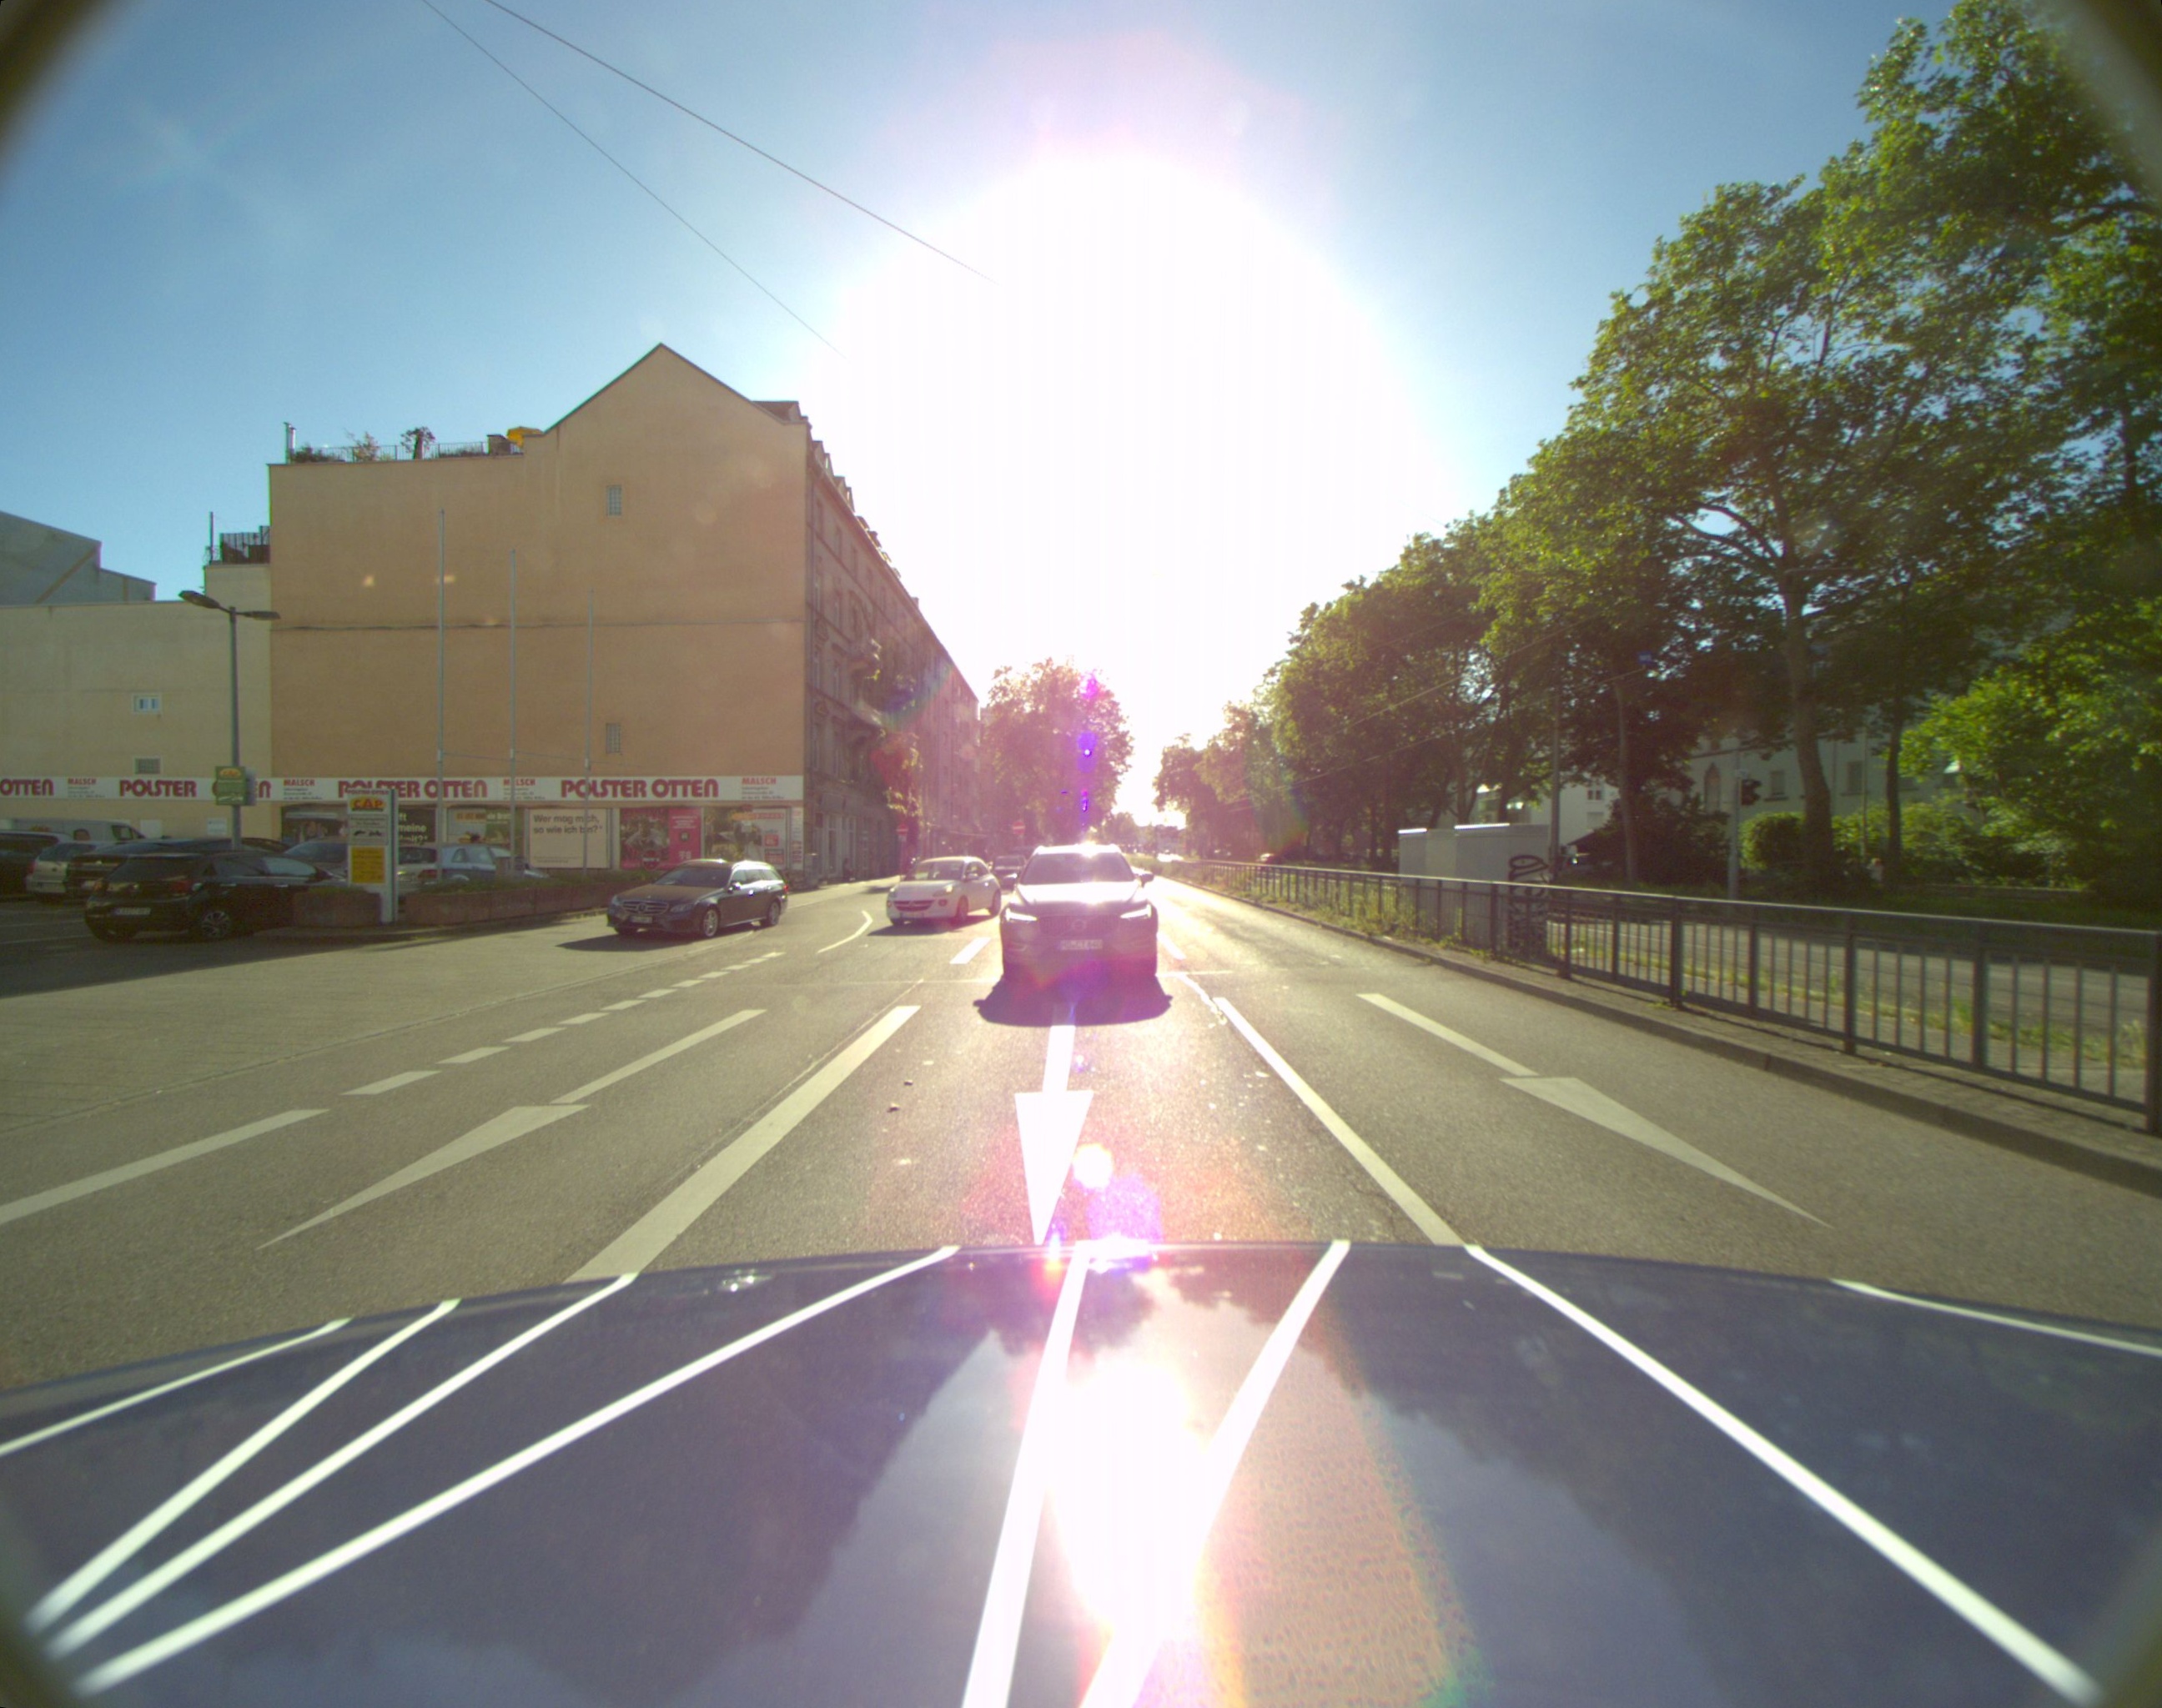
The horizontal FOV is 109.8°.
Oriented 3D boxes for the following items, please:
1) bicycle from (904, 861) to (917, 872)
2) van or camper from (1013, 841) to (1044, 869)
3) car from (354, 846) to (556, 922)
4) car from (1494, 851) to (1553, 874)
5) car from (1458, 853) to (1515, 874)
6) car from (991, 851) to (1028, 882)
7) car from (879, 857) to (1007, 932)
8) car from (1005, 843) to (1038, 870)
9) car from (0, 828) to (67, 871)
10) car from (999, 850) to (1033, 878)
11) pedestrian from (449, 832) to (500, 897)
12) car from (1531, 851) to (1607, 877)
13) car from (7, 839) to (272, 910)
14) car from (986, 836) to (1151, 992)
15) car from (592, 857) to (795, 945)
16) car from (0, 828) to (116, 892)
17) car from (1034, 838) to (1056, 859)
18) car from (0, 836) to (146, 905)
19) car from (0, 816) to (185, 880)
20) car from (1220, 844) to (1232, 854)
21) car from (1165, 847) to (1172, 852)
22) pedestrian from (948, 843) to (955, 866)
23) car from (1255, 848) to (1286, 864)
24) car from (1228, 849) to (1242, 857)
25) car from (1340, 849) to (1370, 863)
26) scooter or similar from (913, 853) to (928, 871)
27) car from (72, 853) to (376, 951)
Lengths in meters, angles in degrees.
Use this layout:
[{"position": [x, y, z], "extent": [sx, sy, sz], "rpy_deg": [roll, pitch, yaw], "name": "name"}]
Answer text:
[{"position": [-10.864, 0.799, 48.330], "extent": [0.469, 0.702, 1.512], "rpy_deg": [0, 1, 1], "name": "bicycle"}, {"position": [-3.855, 0.045, 56.521], "extent": [1.889, 2.002, 5.094], "rpy_deg": [0, 1, 0], "name": "van or camper"}, {"position": [-15.025, 0.640, 18.582], "extent": [1.749, 1.635, 3.998], "rpy_deg": [0, 1, -3], "name": "car"}, {"position": [28.737, 0.530, 49.475], "extent": [1.779, 1.456, 3.697], "rpy_deg": [0, 1, 1], "name": "car"}, {"position": [28.821, 0.664, 54.168], "extent": [1.644, 1.316, 4.460], "rpy_deg": [2, 1, 1], "name": "car"}, {"position": [-3.842, 0.629, 41.325], "extent": [1.645, 1.509, 3.999], "rpy_deg": [-3, 1, -1], "name": "car"}, {"position": [-3.112, 0.864, 17.924], "extent": [1.606, 1.446, 3.784], "rpy_deg": [-1, 1, 12], "name": "car"}, {"position": [-3.957, 0.132, 50.997], "extent": [1.869, 1.754, 4.000], "rpy_deg": [0, 1, 1], "name": "car"}, {"position": [-46.325, -0.196, 31.958], "extent": [1.659, 1.791, 4.051], "rpy_deg": [1, 1, 12], "name": "car"}, {"position": [-3.865, 0.556, 45.775], "extent": [1.743, 1.509, 3.999], "rpy_deg": [-3, 1, -1], "name": "car"}, {"position": [-19.249, 0.326, 24.136], "extent": [0.819, 2.002, 0.923], "rpy_deg": [0, 1, 1], "name": "pedestrian"}, {"position": [28.782, 0.530, 44.988], "extent": [1.739, 1.432, 4.318], "rpy_deg": [0, 1, 1], "name": "car"}, {"position": [-22.540, 0.417, 18.477], "extent": [1.546, 1.535, 3.937], "rpy_deg": [0, 1, 0], "name": "car"}, {"position": [-0.079, 0.668, 10.983], "extent": [1.876, 1.788, 4.633], "rpy_deg": [0, 1, 1], "name": "car"}, {"position": [-8.069, 0.876, 16.446], "extent": [1.837, 1.478, 4.733], "rpy_deg": [3, 1, 1], "name": "car"}, {"position": [-27.636, 0.142, 19.117], "extent": [1.661, 1.572, 3.937], "rpy_deg": [0, 1, 0], "name": "car"}, {"position": [-4.207, -0.645, 89.766], "extent": [2.079, 2.420, 5.855], "rpy_deg": [-1, 1, 1], "name": "car"}, {"position": [-24.695, 0.359, 17.454], "extent": [1.546, 1.535, 3.937], "rpy_deg": [0, 1, 0], "name": "car"}, {"position": [-40.643, -0.242, 31.113], "extent": [1.708, 2.398, 4.886], "rpy_deg": [1, 1, 10], "name": "car"}, {"position": [28.362, -0.981, 148.694], "extent": [1.998, 2.002, 4.001], "rpy_deg": [-2, 0, 5], "name": "car"}, {"position": [29.782, -1.518, 257.716], "extent": [1.862, 1.638, 4.460], "rpy_deg": [0, 0, -1], "name": "car"}, {"position": [-10.272, 0.010, 60.465], "extent": [0.470, 1.822, 0.516], "rpy_deg": [0, 1, 1], "name": "pedestrian"}, {"position": [17.640, 0.177, 70.946], "extent": [1.688, 1.490, 4.341], "rpy_deg": [0, 1, -2], "name": "car"}, {"position": [28.005, -0.128, 138.269], "extent": [1.771, 1.477, 3.688], "rpy_deg": [0, 1, 1], "name": "car"}, {"position": [28.829, 0.185, 79.990], "extent": [1.801, 1.464, 4.000], "rpy_deg": [0, 0, 1], "name": "car"}, {"position": [-10.772, 0.535, 50.902], "extent": [0.638, 1.167, 1.730], "rpy_deg": [0, 1, -24], "name": "scooter or similar"}, {"position": [-14.621, 0.737, 13.278], "extent": [1.562, 1.477, 3.393], "rpy_deg": [0, 0, -3], "name": "car"}]
